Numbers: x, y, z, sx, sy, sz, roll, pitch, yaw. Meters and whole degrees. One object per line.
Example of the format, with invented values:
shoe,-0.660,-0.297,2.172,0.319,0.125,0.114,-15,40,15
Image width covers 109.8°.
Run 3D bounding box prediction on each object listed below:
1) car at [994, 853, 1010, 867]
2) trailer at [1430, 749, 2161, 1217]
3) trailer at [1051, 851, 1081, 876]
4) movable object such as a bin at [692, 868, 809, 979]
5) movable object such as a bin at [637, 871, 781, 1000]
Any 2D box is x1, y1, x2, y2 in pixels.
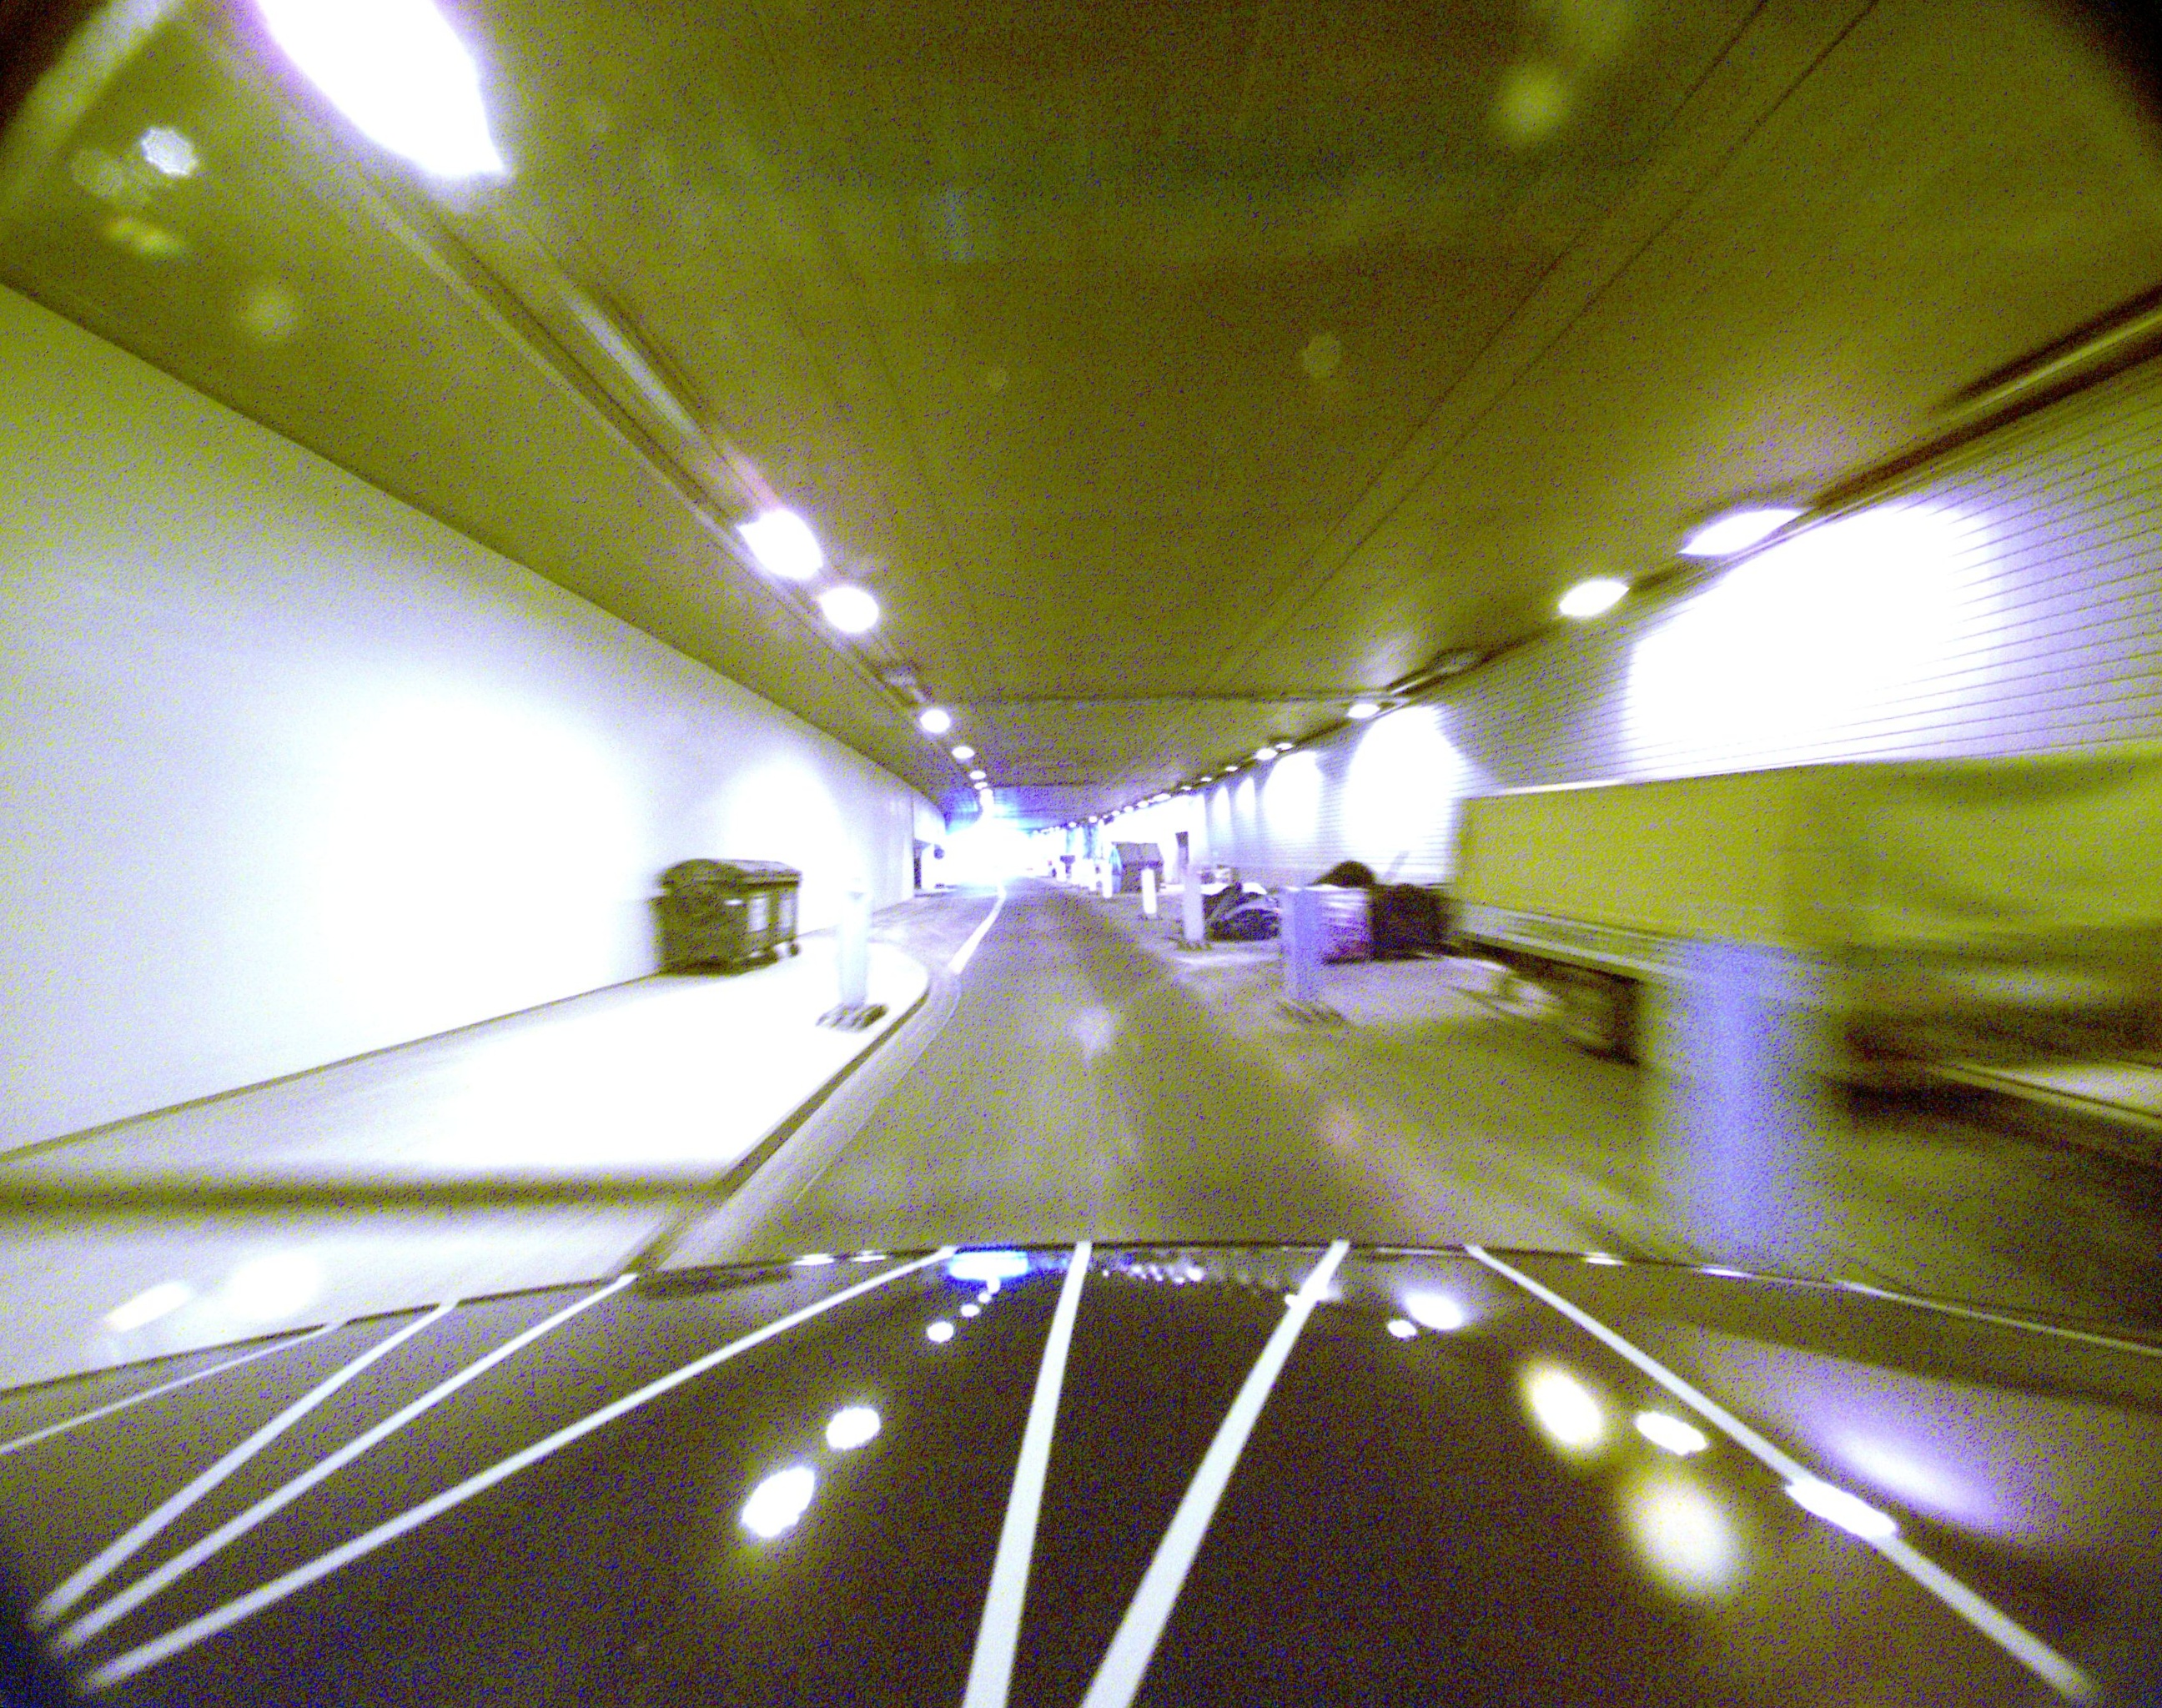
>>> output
car,-11.040,0.812,106.031,2.000,1.743,3.996,-2,1,-10
trailer,4.328,0.526,5.076,2.214,2.002,3.464,-2,1,-4
trailer,-1.149,0.669,57.000,1.645,1.781,3.119,-2,1,-11
movable object such as a bin,-4.740,0.962,11.018,1.100,1.437,1.321,-1,1,-3
movable object such as a bin,-4.637,0.978,9.612,1.148,1.437,1.363,-1,1,-3
